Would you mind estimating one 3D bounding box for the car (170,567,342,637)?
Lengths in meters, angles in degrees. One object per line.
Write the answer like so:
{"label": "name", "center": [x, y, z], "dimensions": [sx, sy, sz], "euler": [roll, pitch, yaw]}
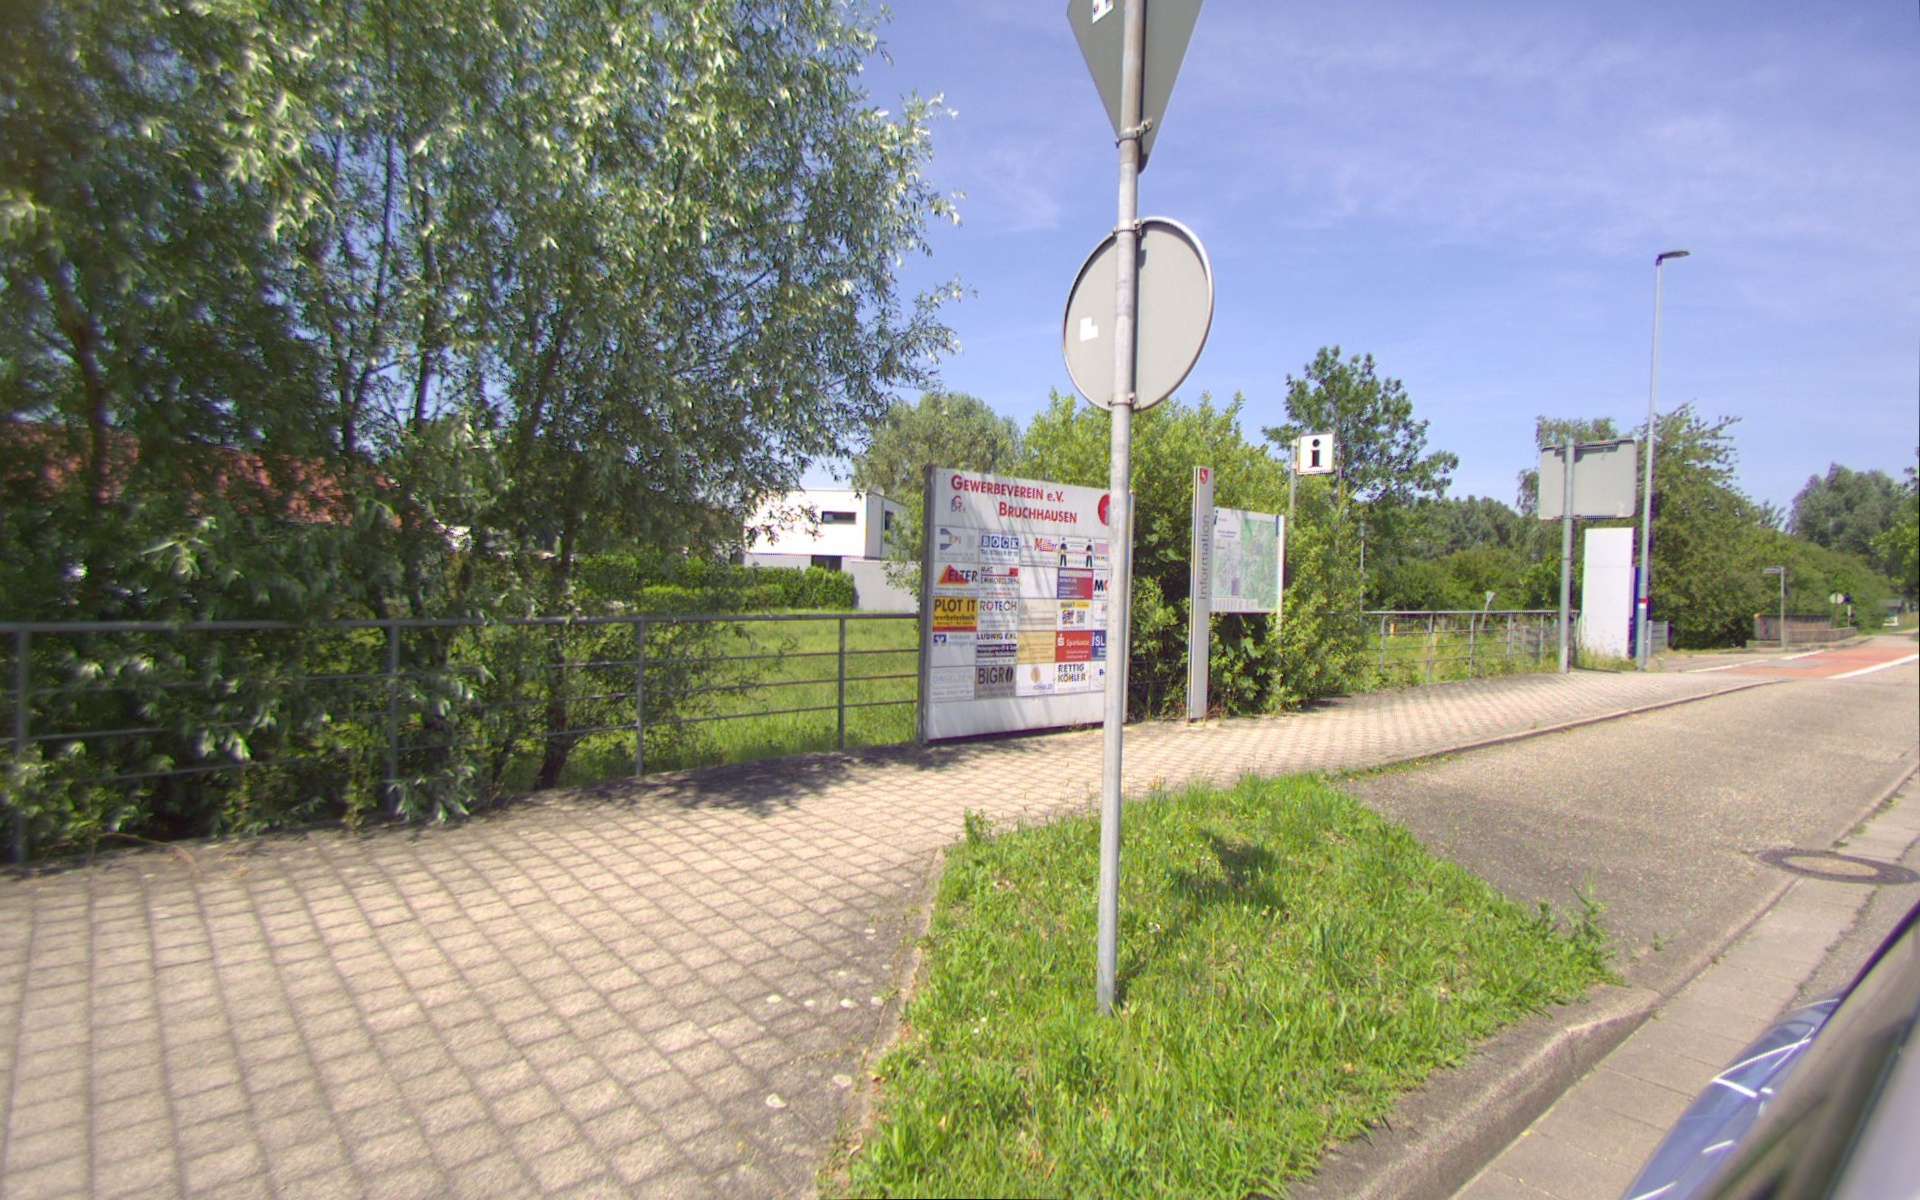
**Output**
{"label": "car", "center": [-21.799, 0.038, 31.334], "dimensions": [4.874, 2.039, 2.055], "euler": [0, 0, 22]}
